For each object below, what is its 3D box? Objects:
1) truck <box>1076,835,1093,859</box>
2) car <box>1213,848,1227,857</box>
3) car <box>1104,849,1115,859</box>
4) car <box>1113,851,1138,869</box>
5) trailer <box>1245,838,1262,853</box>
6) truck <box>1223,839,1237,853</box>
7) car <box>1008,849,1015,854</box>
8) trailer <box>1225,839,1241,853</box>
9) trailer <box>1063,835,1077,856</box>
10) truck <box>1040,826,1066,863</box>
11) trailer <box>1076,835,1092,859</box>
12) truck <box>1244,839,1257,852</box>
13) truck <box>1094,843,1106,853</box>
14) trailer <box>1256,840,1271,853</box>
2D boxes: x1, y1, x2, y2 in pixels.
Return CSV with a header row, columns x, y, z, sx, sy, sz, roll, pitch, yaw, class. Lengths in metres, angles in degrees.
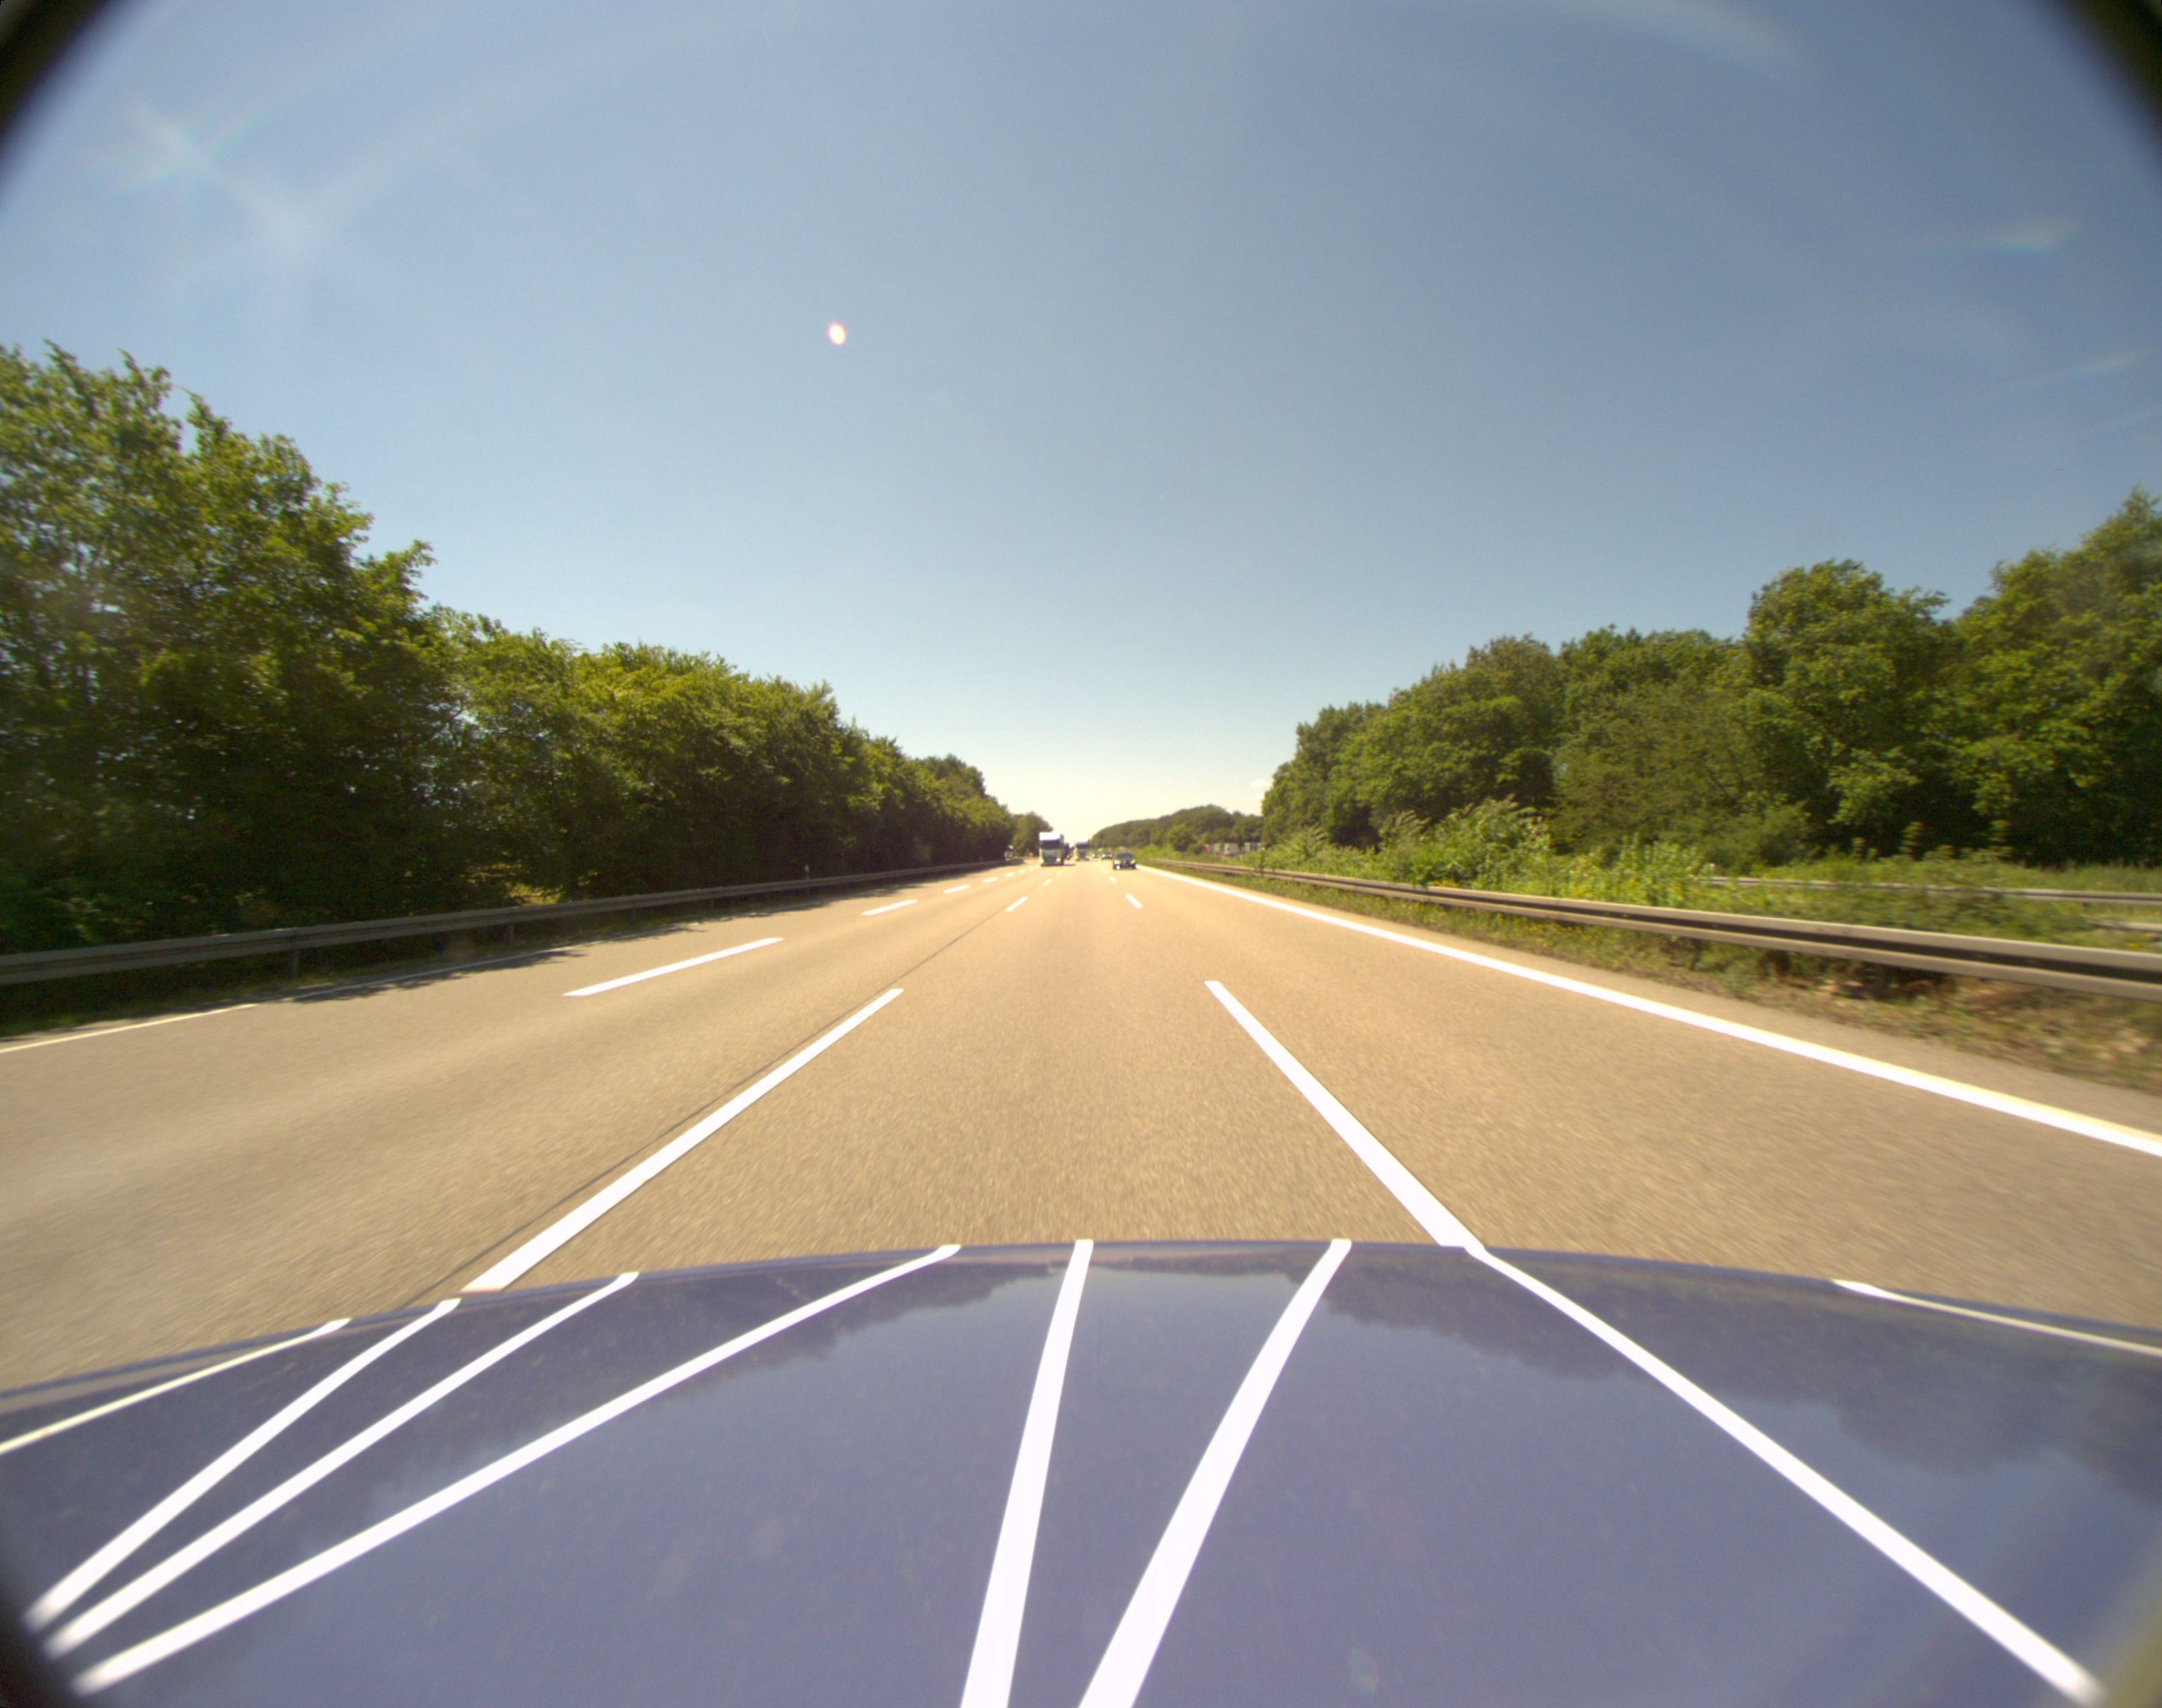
x,y,z,sx,sy,sz,roll,pitch,yaw,class
0.570,-1.240,136.879,2.863,4.247,5.410,-2,1,0,truck
27.907,-0.295,152.580,1.976,1.585,3.999,-3,1,0,car
5.083,-0.031,135.092,1.806,1.774,3.999,-1,1,0,car
3.710,0.486,63.723,1.811,1.399,4.000,-3,0,0,car
57.131,-2.822,251.970,3.608,4.565,14.028,0,0,5,trailer
46.313,-2.567,236.555,3.222,4.112,7.393,-2,1,5,truck
-22.305,-0.802,244.904,1.999,1.700,4.677,1,0,-4,car
45.641,-2.465,228.839,3.222,4.112,14.054,-2,1,5,trailer
-2.342,-1.847,164.343,2.864,4.247,11.469,-1,1,-1,trailer
-3.317,-1.128,92.227,2.864,4.247,6.862,-2,1,-1,truck
0.523,-1.302,143.390,2.863,4.247,11.470,-2,1,0,trailer
57.821,-2.871,259.298,3.608,4.565,6.599,0,1,5,truck
4.533,-1.471,183.949,2.576,2.461,5.614,-2,1,0,truck
51.595,-2.158,215.238,3.606,3.634,14.035,0,0,12,trailer
